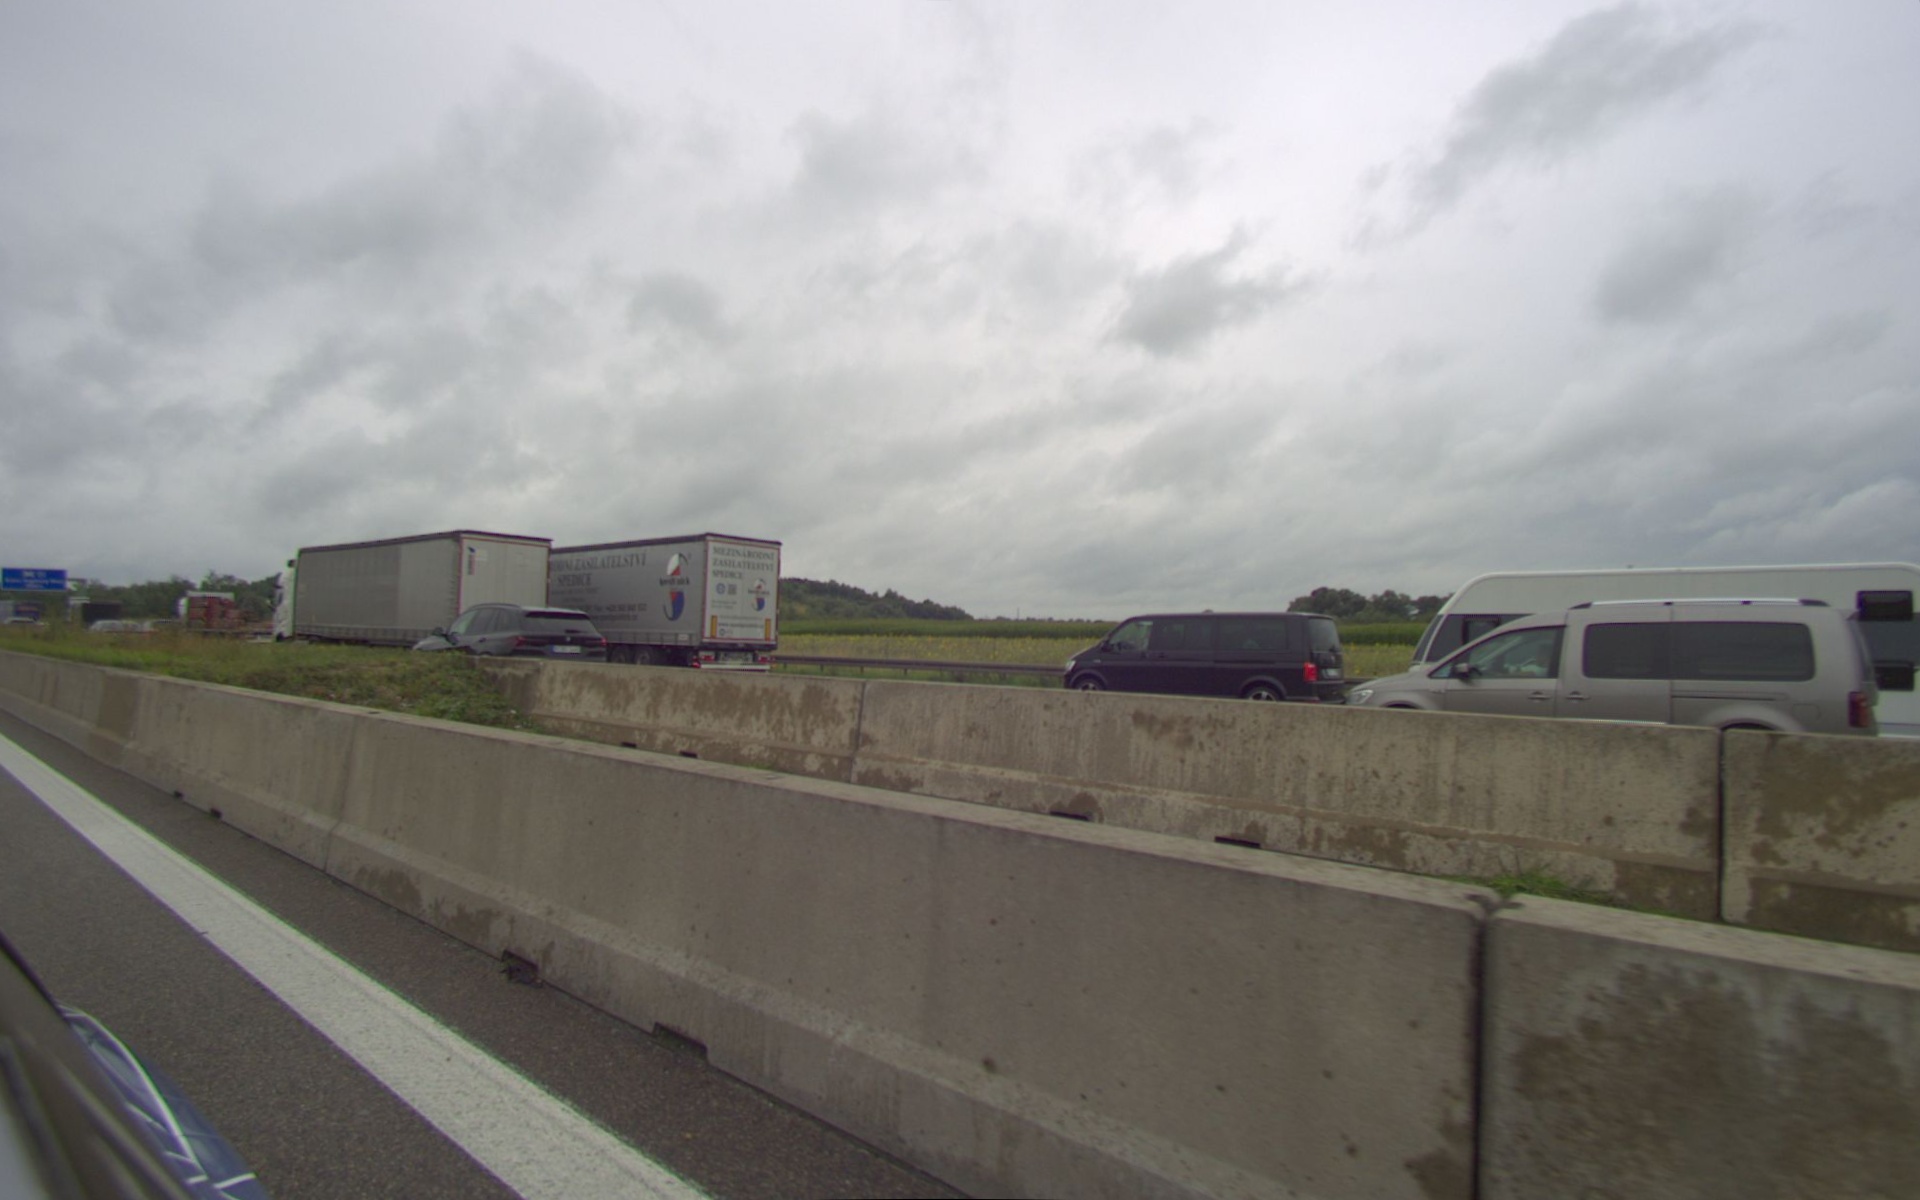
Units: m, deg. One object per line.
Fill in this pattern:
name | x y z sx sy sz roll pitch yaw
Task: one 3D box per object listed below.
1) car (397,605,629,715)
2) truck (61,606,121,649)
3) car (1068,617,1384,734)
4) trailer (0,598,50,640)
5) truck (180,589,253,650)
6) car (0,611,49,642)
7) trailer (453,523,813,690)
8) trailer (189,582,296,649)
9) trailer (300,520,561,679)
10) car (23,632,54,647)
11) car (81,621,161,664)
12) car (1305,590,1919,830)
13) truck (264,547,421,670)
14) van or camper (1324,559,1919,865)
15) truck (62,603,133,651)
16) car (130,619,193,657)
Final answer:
car | -8.382 1.034 18.746 5.069 1.778 1.972 -1 -3 41
truck | -62.479 1.905 72.715 7.421 2.930 2.287 -1 0 42
car | 4.719 1.256 18.362 5.127 1.767 2.072 -1 0 37
trailer | -114.627 2.314 123.807 11.672 4.804 3.353 -1 0 40
truck | -48.152 1.275 65.522 5.869 3.754 2.613 -3 -1 42
car | -64.583 1.818 69.844 4.799 2.029 1.972 -1 -2 42
trailer | -11.244 0.207 32.660 15.619 4.303 3.674 -1 0 42
trailer | -44.051 1.073 61.917 12.188 3.754 2.613 -3 -1 42
trailer | -16.841 0.028 31.467 12.326 4.119 3.053 -1 0 42
car | -100.993 4.296 110.913 5.011 1.628 1.863 -1 -2 41
car | -36.702 1.819 44.237 4.799 1.723 2.071 -1 -1 42
car | 6.533 0.951 10.532 5.275 1.939 1.863 -1 -2 41
truck | -22.183 0.273 36.222 6.369 4.005 3.060 -1 0 42
van or camper | 9.591 1.304 14.639 7.692 3.529 2.682 -1 0 39
truck | -86.090 2.619 100.898 11.777 4.517 3.477 -1 0 40
car | -44.384 2.086 56.211 4.359 2.029 1.972 -1 -2 42
